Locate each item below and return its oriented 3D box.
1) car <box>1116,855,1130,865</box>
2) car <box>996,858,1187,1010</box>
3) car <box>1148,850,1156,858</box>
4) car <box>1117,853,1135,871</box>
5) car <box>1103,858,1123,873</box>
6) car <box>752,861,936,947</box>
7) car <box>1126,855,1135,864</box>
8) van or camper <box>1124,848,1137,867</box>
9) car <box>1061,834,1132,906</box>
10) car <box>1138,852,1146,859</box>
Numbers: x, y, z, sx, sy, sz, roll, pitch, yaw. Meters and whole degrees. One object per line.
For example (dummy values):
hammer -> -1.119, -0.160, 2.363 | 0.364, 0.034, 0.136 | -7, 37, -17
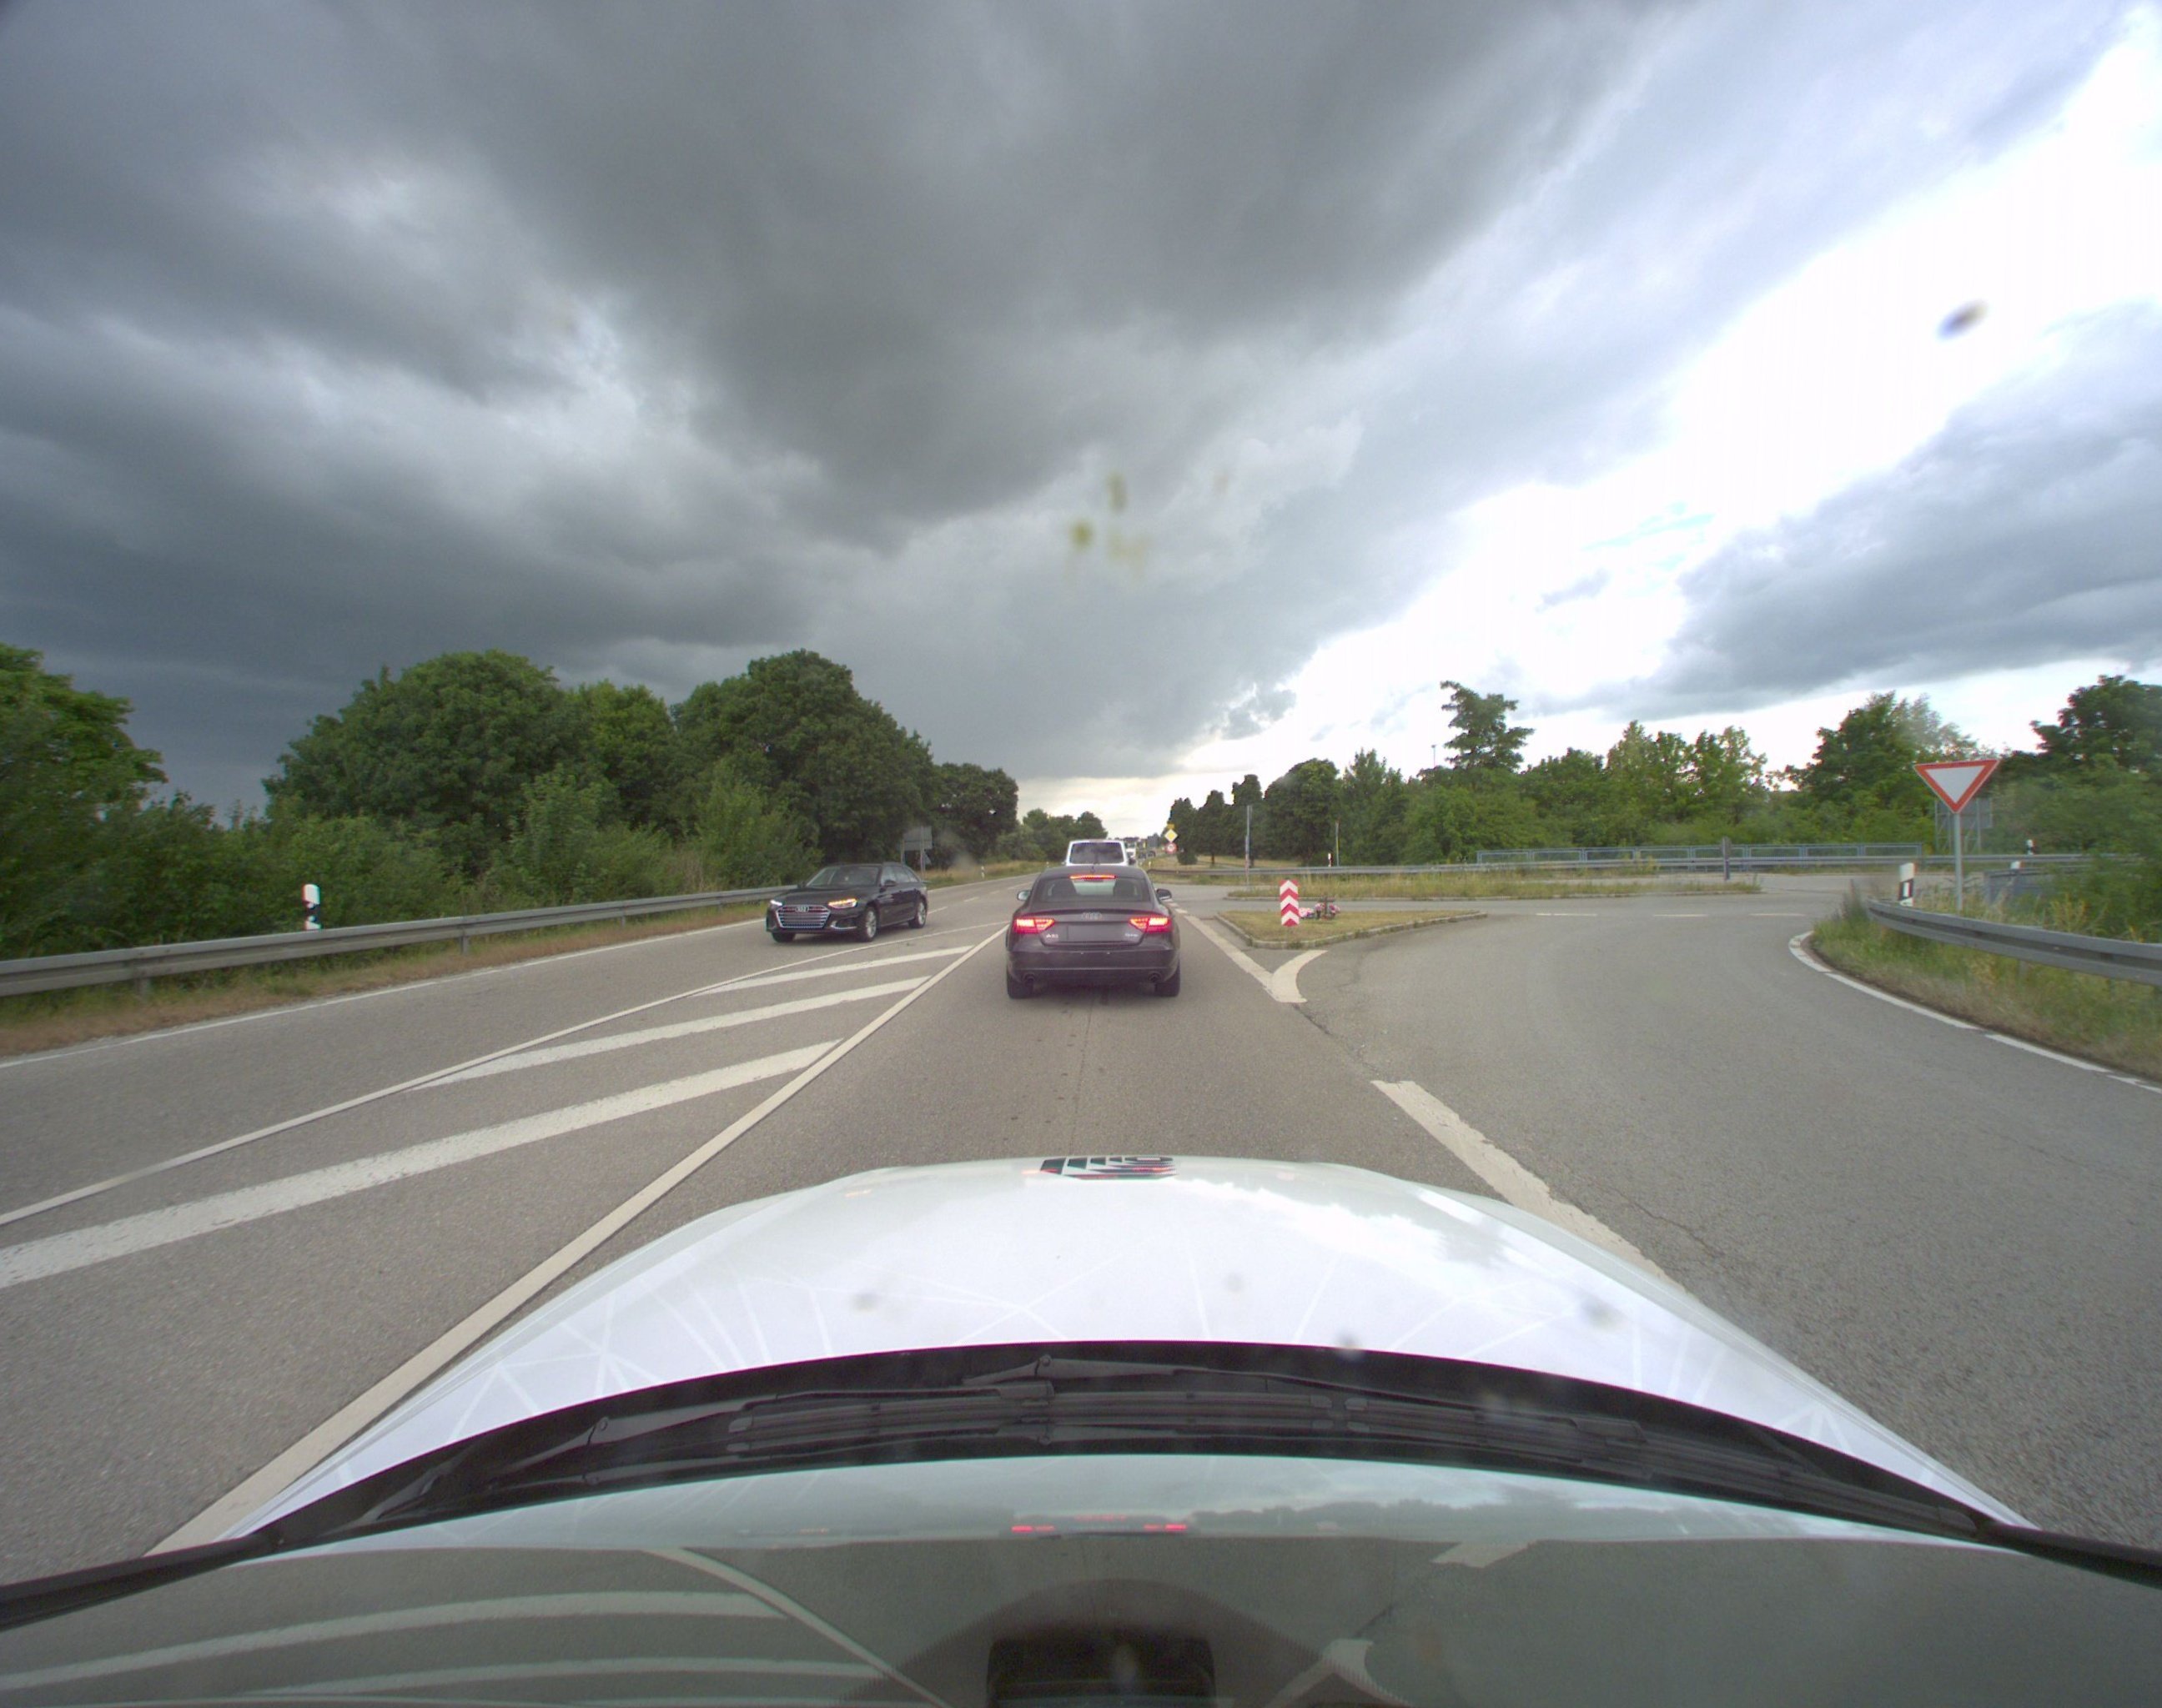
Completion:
car -> 6.485, 0.860, 125.118 | 1.726, 1.514, 3.755 | -2, 0, 8
car -> 0.162, 0.762, 9.653 | 1.776, 1.376, 4.002 | -1, 0, 2
car -> 19.013, 0.082, 217.730 | 1.986, 2.013, 4.001 | -1, 0, 1
car -> 5.356, 0.925, 95.784 | 1.984, 2.088, 4.005 | -2, 0, 5
car -> 3.218, 1.168, 81.678 | 1.787, 1.464, 3.253 | -1, 0, 5
car -> -4.422, 0.865, 16.034 | 1.811, 1.374, 4.619 | -1, 0, 6
car -> 8.330, 0.897, 137.173 | 1.251, 1.353, 3.473 | -2, 0, 8
van or camper -> 9.355, 0.611, 154.787 | 2.330, 3.481, 5.724 | -1, 0, 4
car -> 0.464, 0.408, 23.280 | 1.832, 1.882, 4.002 | -1, 0, 2
car -> 14.332, 0.316, 190.884 | 1.712, 1.451, 4.003 | -1, 0, 3
